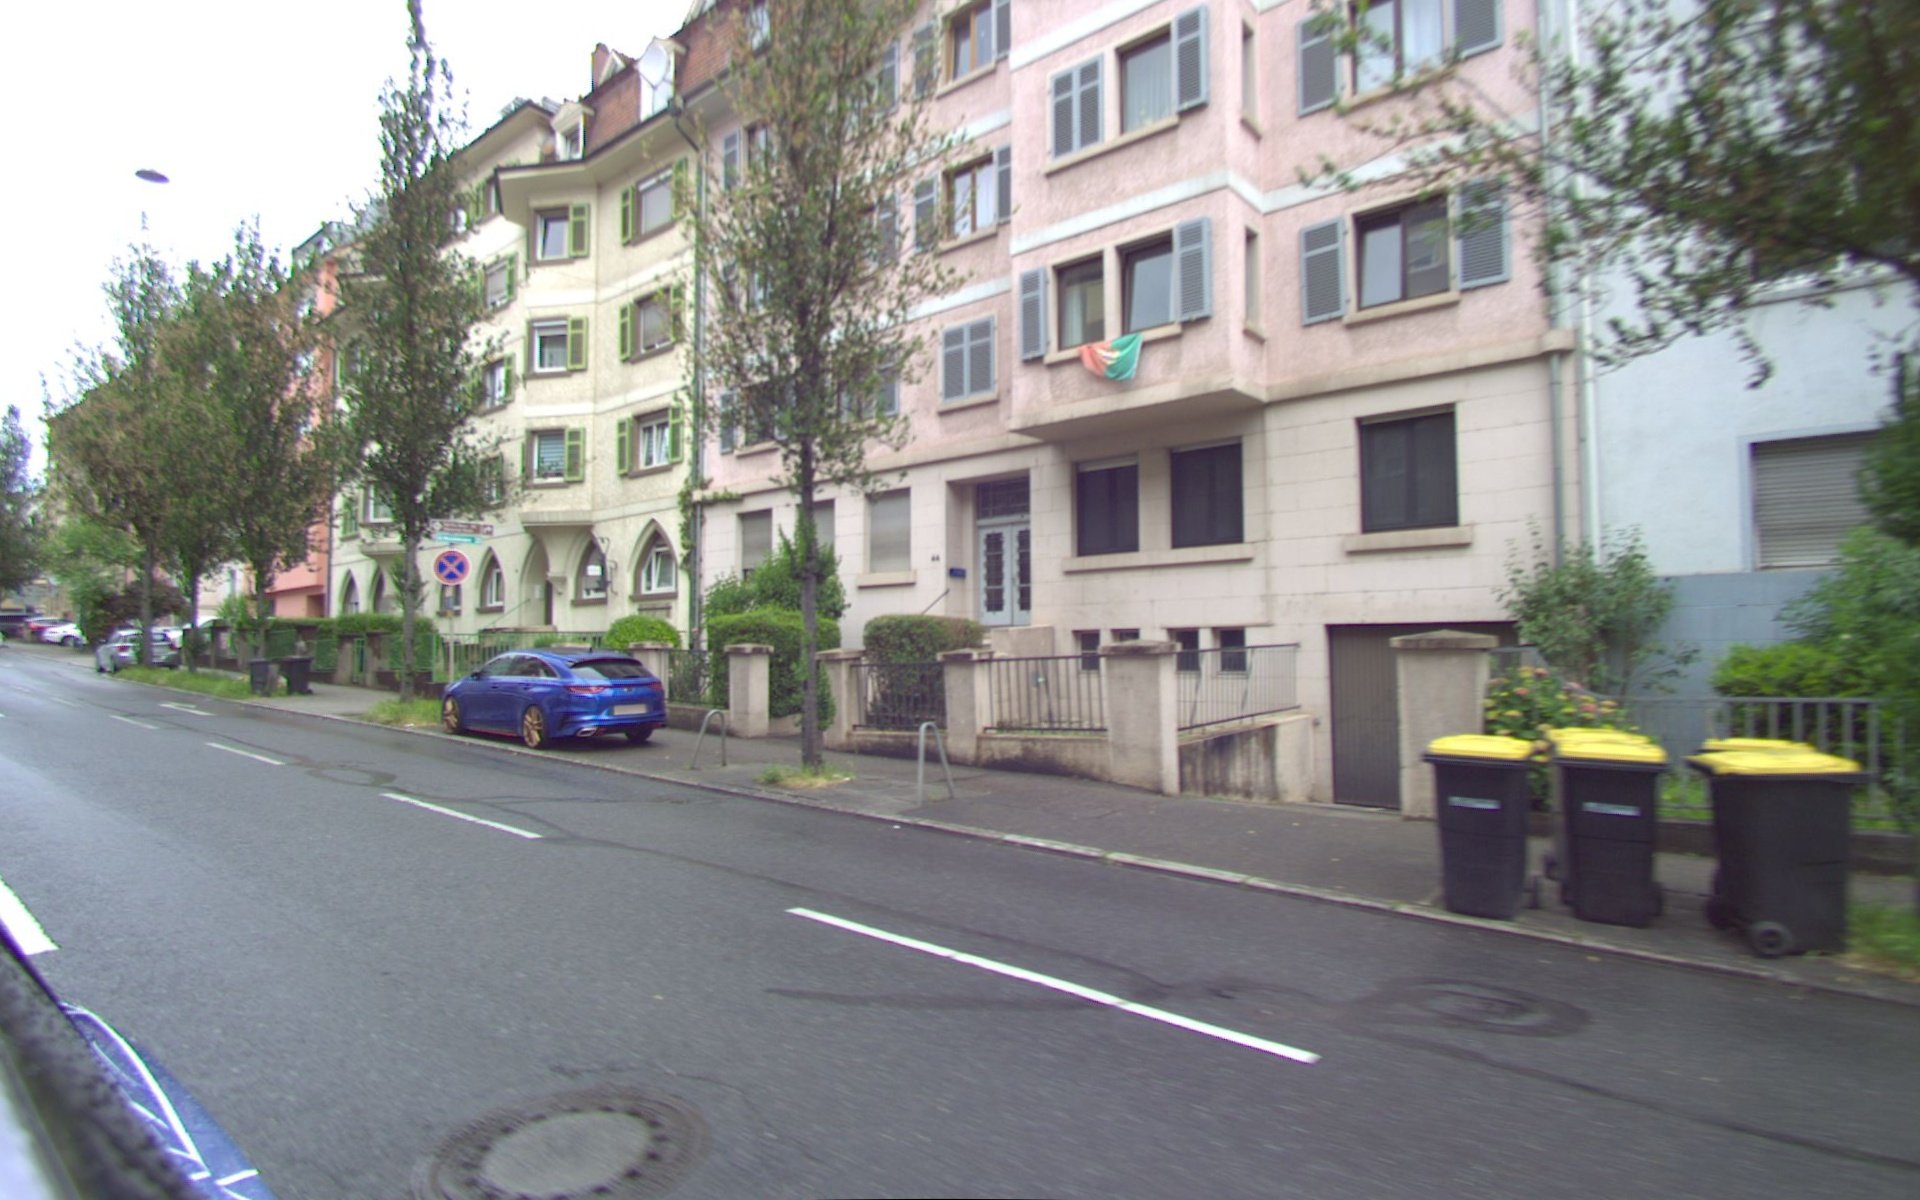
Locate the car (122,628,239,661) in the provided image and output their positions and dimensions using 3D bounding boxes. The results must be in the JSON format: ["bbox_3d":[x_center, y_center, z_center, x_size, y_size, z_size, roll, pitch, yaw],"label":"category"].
[{"bbox_3d":[-35.872,2.061,46.657,1.721,1.408,3.886,0,-3,34],"label":"car"}]

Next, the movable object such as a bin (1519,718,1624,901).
[{"bbox_3d":[4.195,1.392,6.930,0.483,1.066,0.816,0,0,41],"label":"movable object such as a bin"}]

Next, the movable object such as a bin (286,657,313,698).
[{"bbox_3d":[-15.681,1.833,24.022,0.572,0.918,0.360,0,-1,40],"label":"movable object such as a bin"}]

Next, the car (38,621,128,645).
[{"bbox_3d":[-53.021,2.035,61.217,1.645,1.307,3.878,0,-3,40],"label":"car"}]

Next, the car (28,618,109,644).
[{"bbox_3d":[-60.175,2.110,68.373,1.591,1.634,3.878,0,-3,40],"label":"car"}]

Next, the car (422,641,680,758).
[{"bbox_3d":[-6.342,1.408,15.432,4.599,1.396,1.662,0,-2,40],"label":"car"}]

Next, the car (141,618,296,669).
[{"bbox_3d":[-29.801,1.702,40.802,1.916,1.919,4.673,0,-1,38],"label":"car"}]

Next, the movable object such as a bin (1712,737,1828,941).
[{"bbox_3d":[4.854,1.407,6.091,0.482,1.066,0.468,0,1,31],"label":"movable object such as a bin"}]

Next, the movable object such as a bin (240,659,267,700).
[{"bbox_3d":[-16.178,1.815,23.179,0.572,0.896,0.360,-1,-1,40],"label":"movable object such as a bin"}]

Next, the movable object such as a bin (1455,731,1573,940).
[{"bbox_3d":[3.441,1.412,6.269,0.483,1.066,0.816,0,1,41],"label":"movable object such as a bin"}]

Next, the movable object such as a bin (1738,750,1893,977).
[{"bbox_3d":[4.640,1.401,5.517,0.480,1.066,0.522,0,0,19],"label":"movable object such as a bin"}]

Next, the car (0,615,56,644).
[{"bbox_3d":[-64.038,1.983,68.485,1.865,1.861,3.882,0,-3,38],"label":"car"}]

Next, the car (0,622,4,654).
[{"bbox_3d":[-47.318,1.777,47.243,3.594,1.483,1.674,1,-1,-10],"label":"car"}]

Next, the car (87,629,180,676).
[{"bbox_3d":[-28.002,1.756,34.253,4.135,1.428,1.664,-1,-4,41],"label":"car"}]

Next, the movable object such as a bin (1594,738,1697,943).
[{"bbox_3d":[4.098,1.411,6.077,0.482,1.066,0.468,0,1,31],"label":"movable object such as a bin"}]
